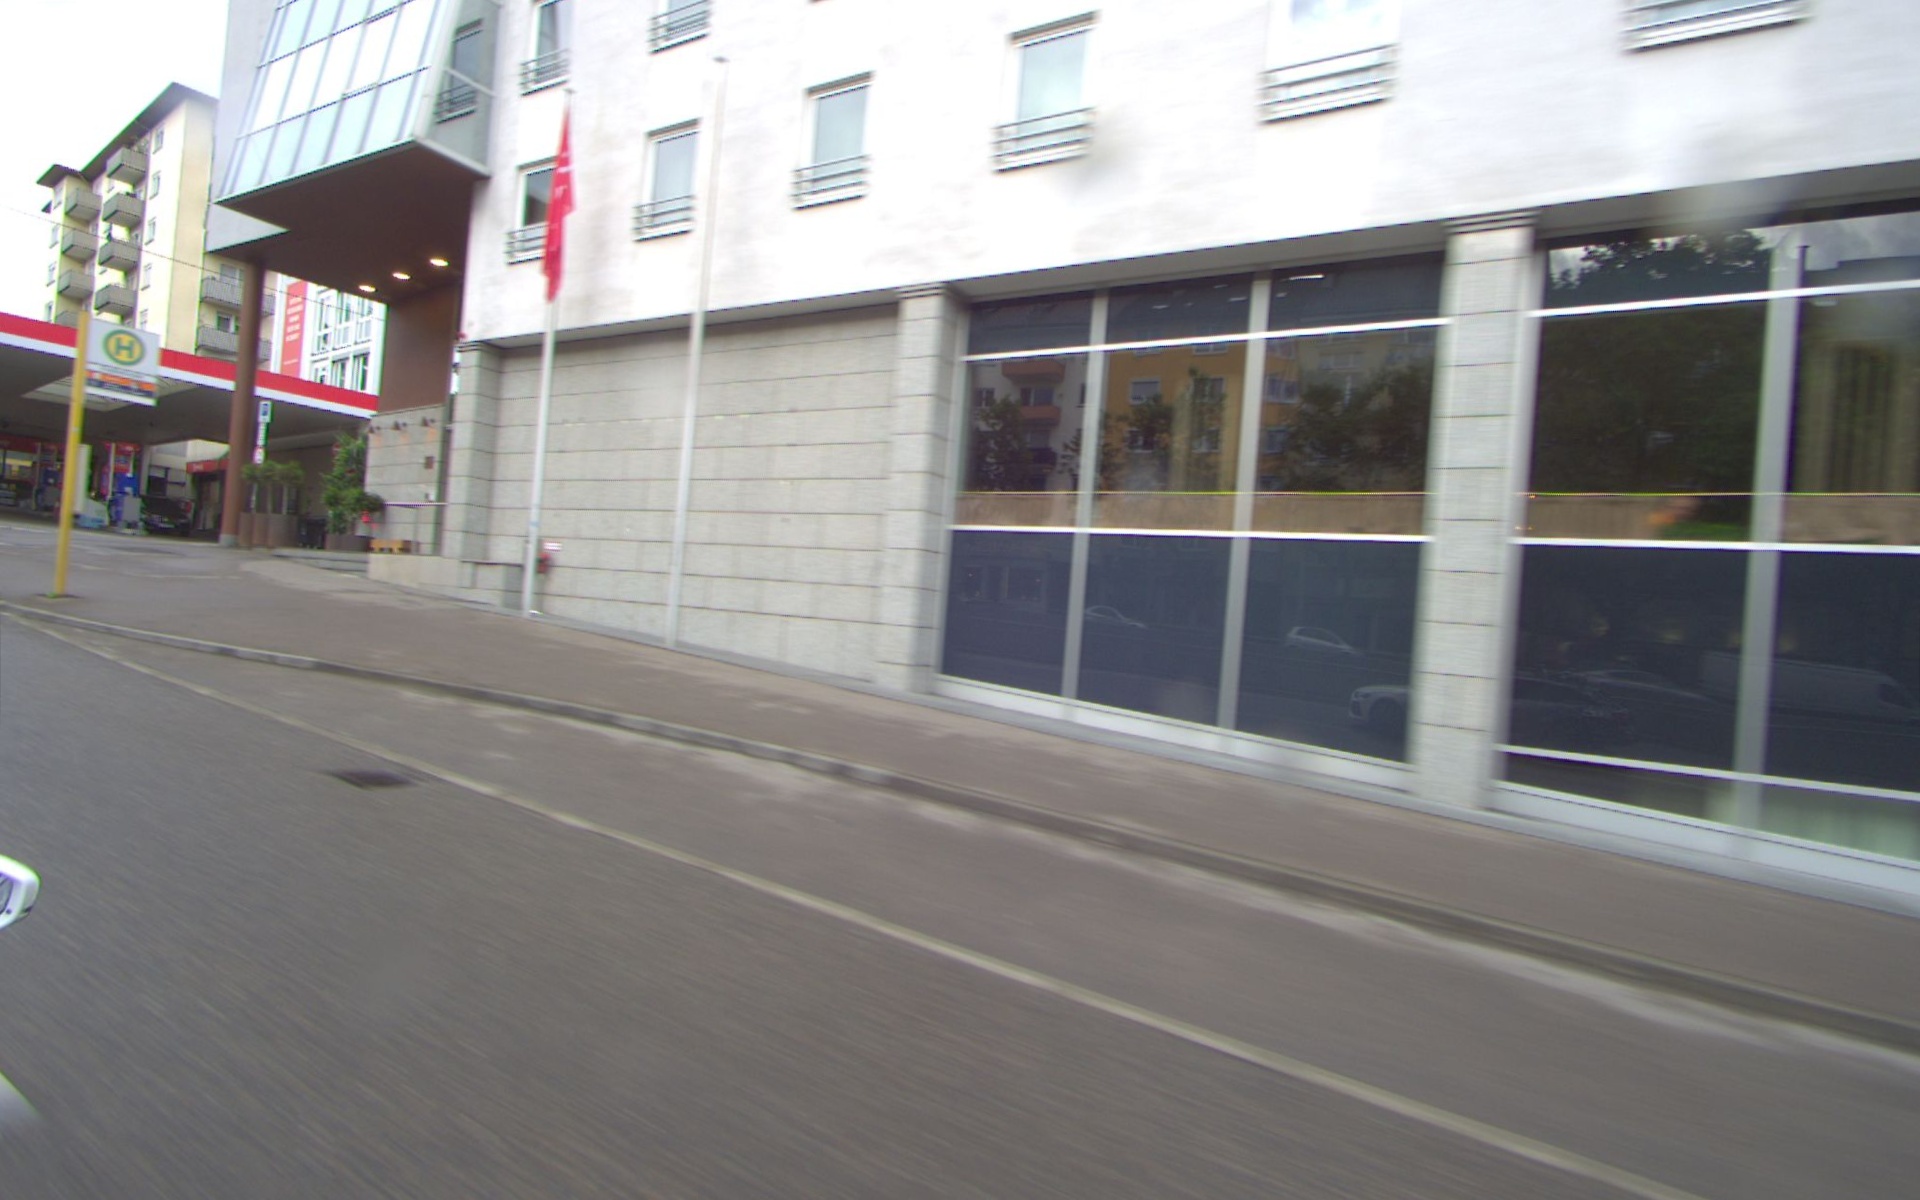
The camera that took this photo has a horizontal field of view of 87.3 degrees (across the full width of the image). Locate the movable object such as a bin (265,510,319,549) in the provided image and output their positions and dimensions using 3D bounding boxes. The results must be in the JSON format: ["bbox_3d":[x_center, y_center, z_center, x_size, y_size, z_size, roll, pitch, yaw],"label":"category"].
[{"bbox_3d":[-29.433,-3.117,44.323,2.470,1.443,1.162,7,1,38],"label":"movable object such as a bin"}]

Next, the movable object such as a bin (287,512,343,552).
[{"bbox_3d":[-27.339,-2.878,42.621,2.470,1.443,1.162,7,1,38],"label":"movable object such as a bin"}]

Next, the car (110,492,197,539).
[{"bbox_3d":[-32.861,-3.447,40.956,3.941,1.527,1.795,5,-3,39],"label":"car"}]
